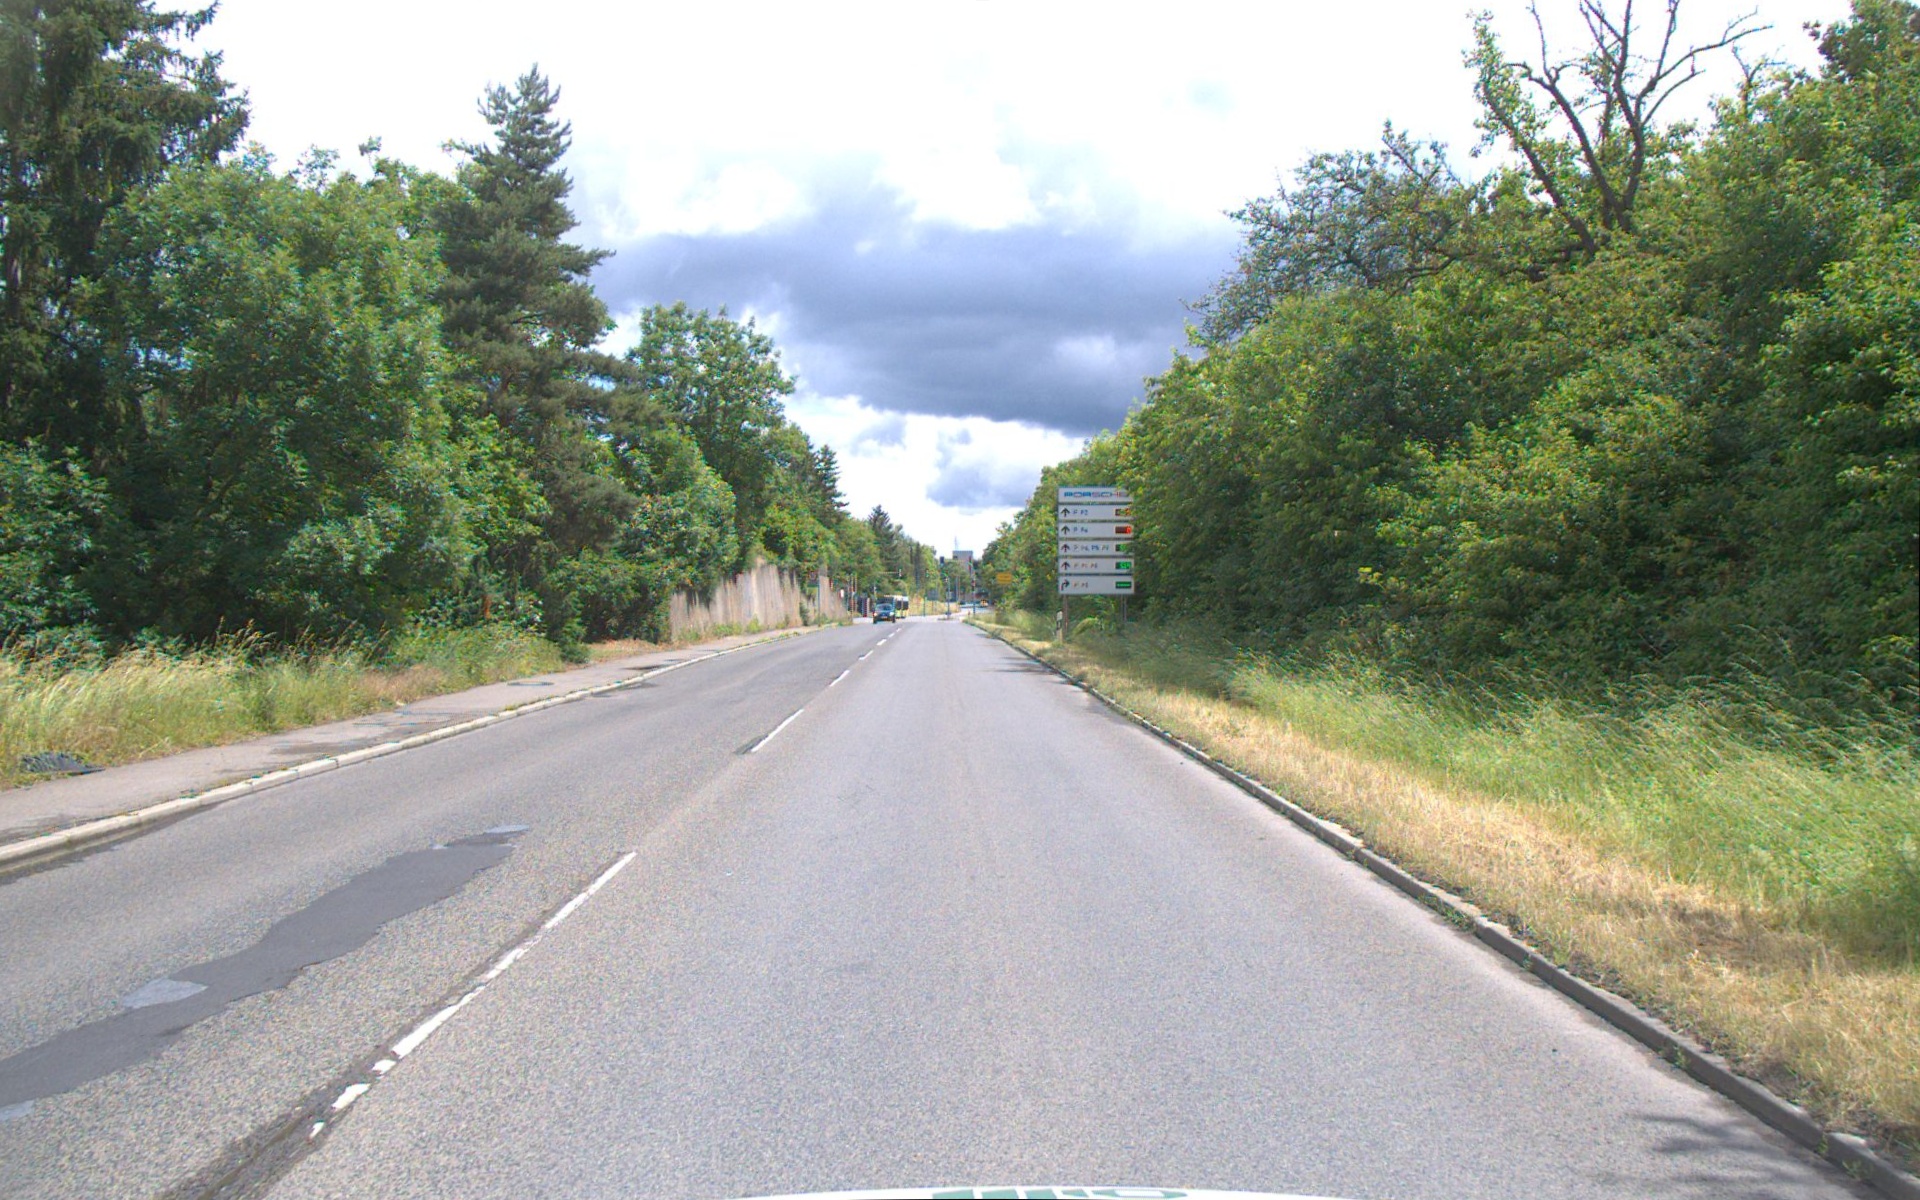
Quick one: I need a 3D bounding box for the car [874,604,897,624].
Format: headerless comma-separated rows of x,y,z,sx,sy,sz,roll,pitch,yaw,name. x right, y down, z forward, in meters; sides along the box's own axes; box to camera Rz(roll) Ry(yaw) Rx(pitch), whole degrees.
-5.783,1.068,128.969,1.716,1.489,3.999,-1,0,-1,car
